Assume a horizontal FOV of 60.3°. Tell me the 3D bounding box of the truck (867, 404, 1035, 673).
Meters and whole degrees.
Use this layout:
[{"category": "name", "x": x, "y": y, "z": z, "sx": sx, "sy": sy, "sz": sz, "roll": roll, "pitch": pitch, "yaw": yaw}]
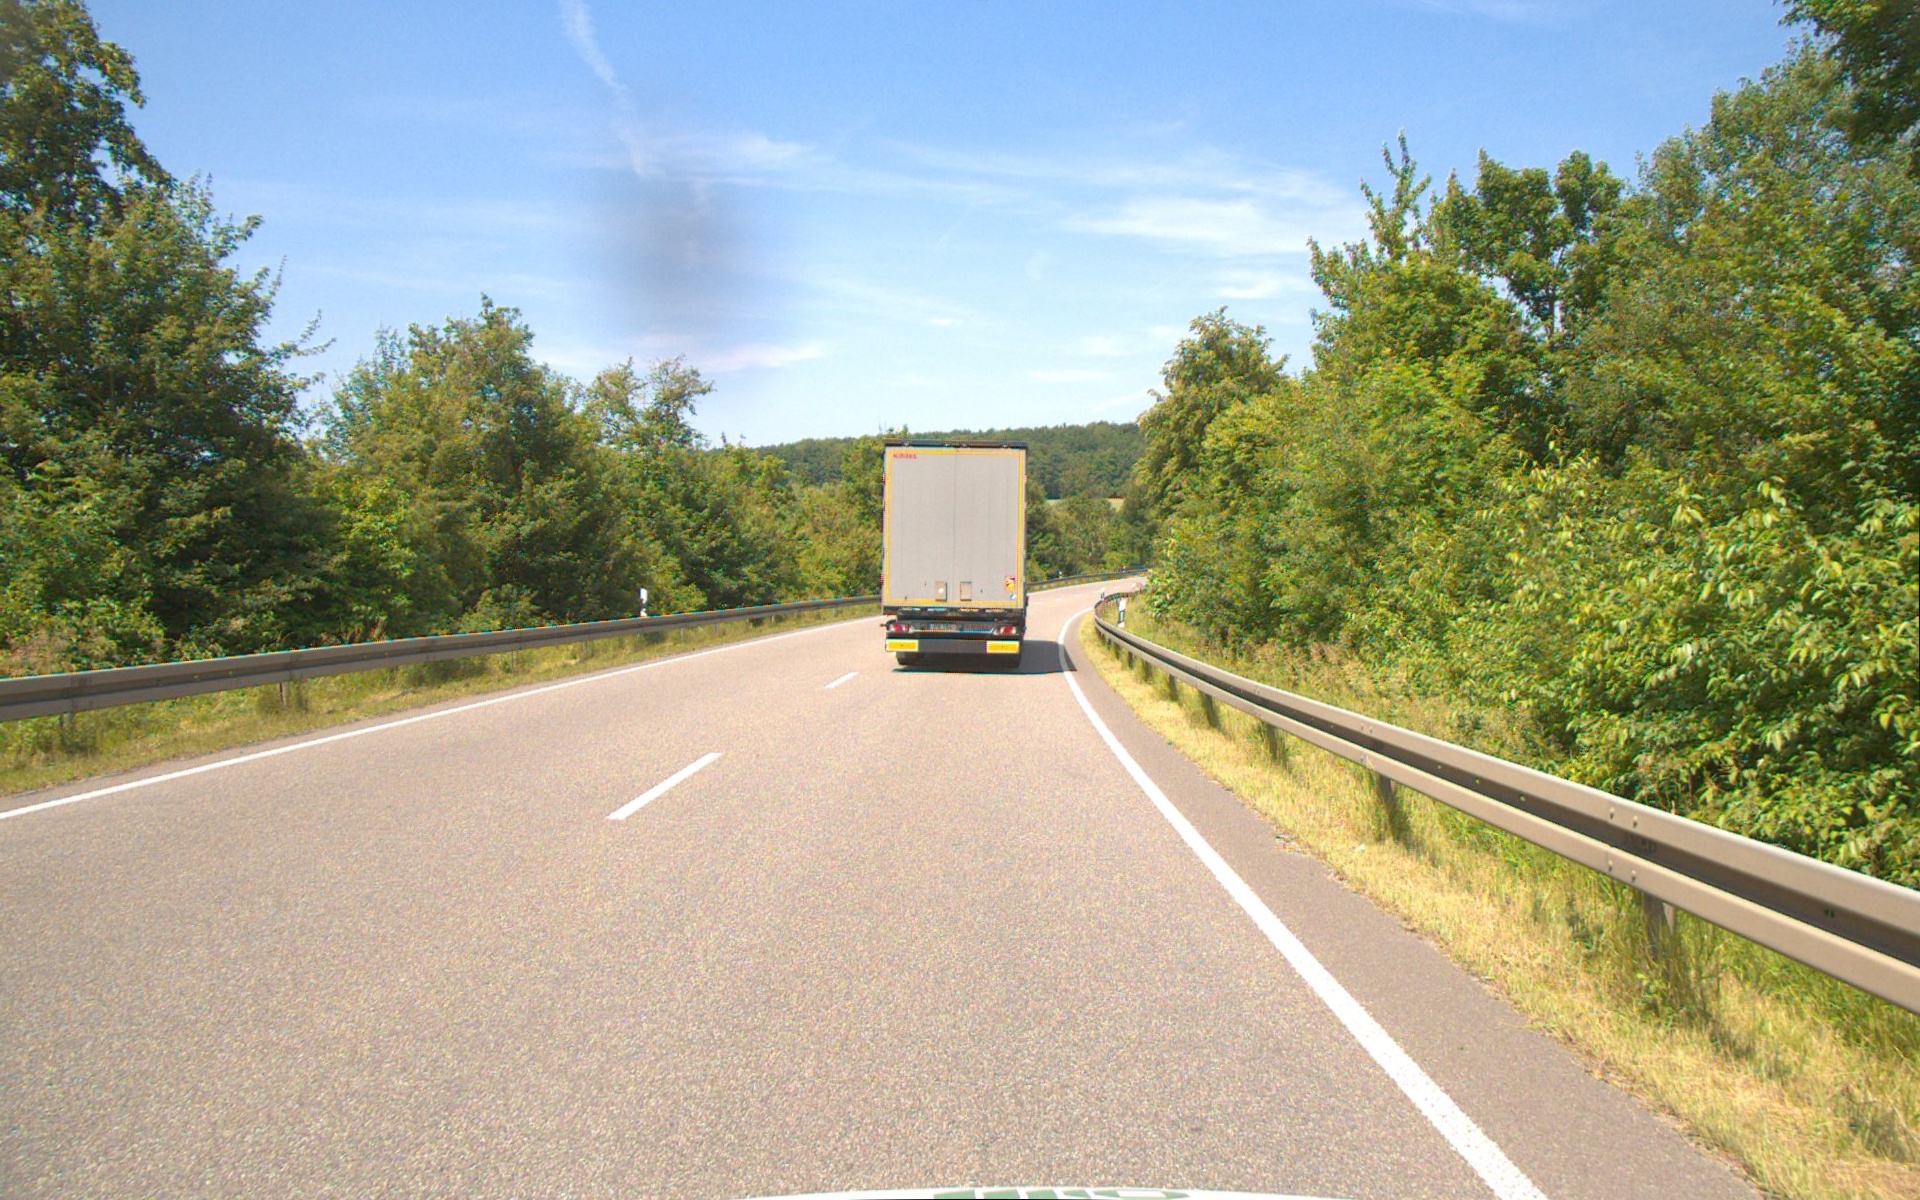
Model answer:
[{"category": "truck", "x": 0.110, "y": -1.110, "z": 34.353, "sx": 2.758, "sy": 4.611, "sz": 11.773, "roll": 1, "pitch": 0, "yaw": 3}]
